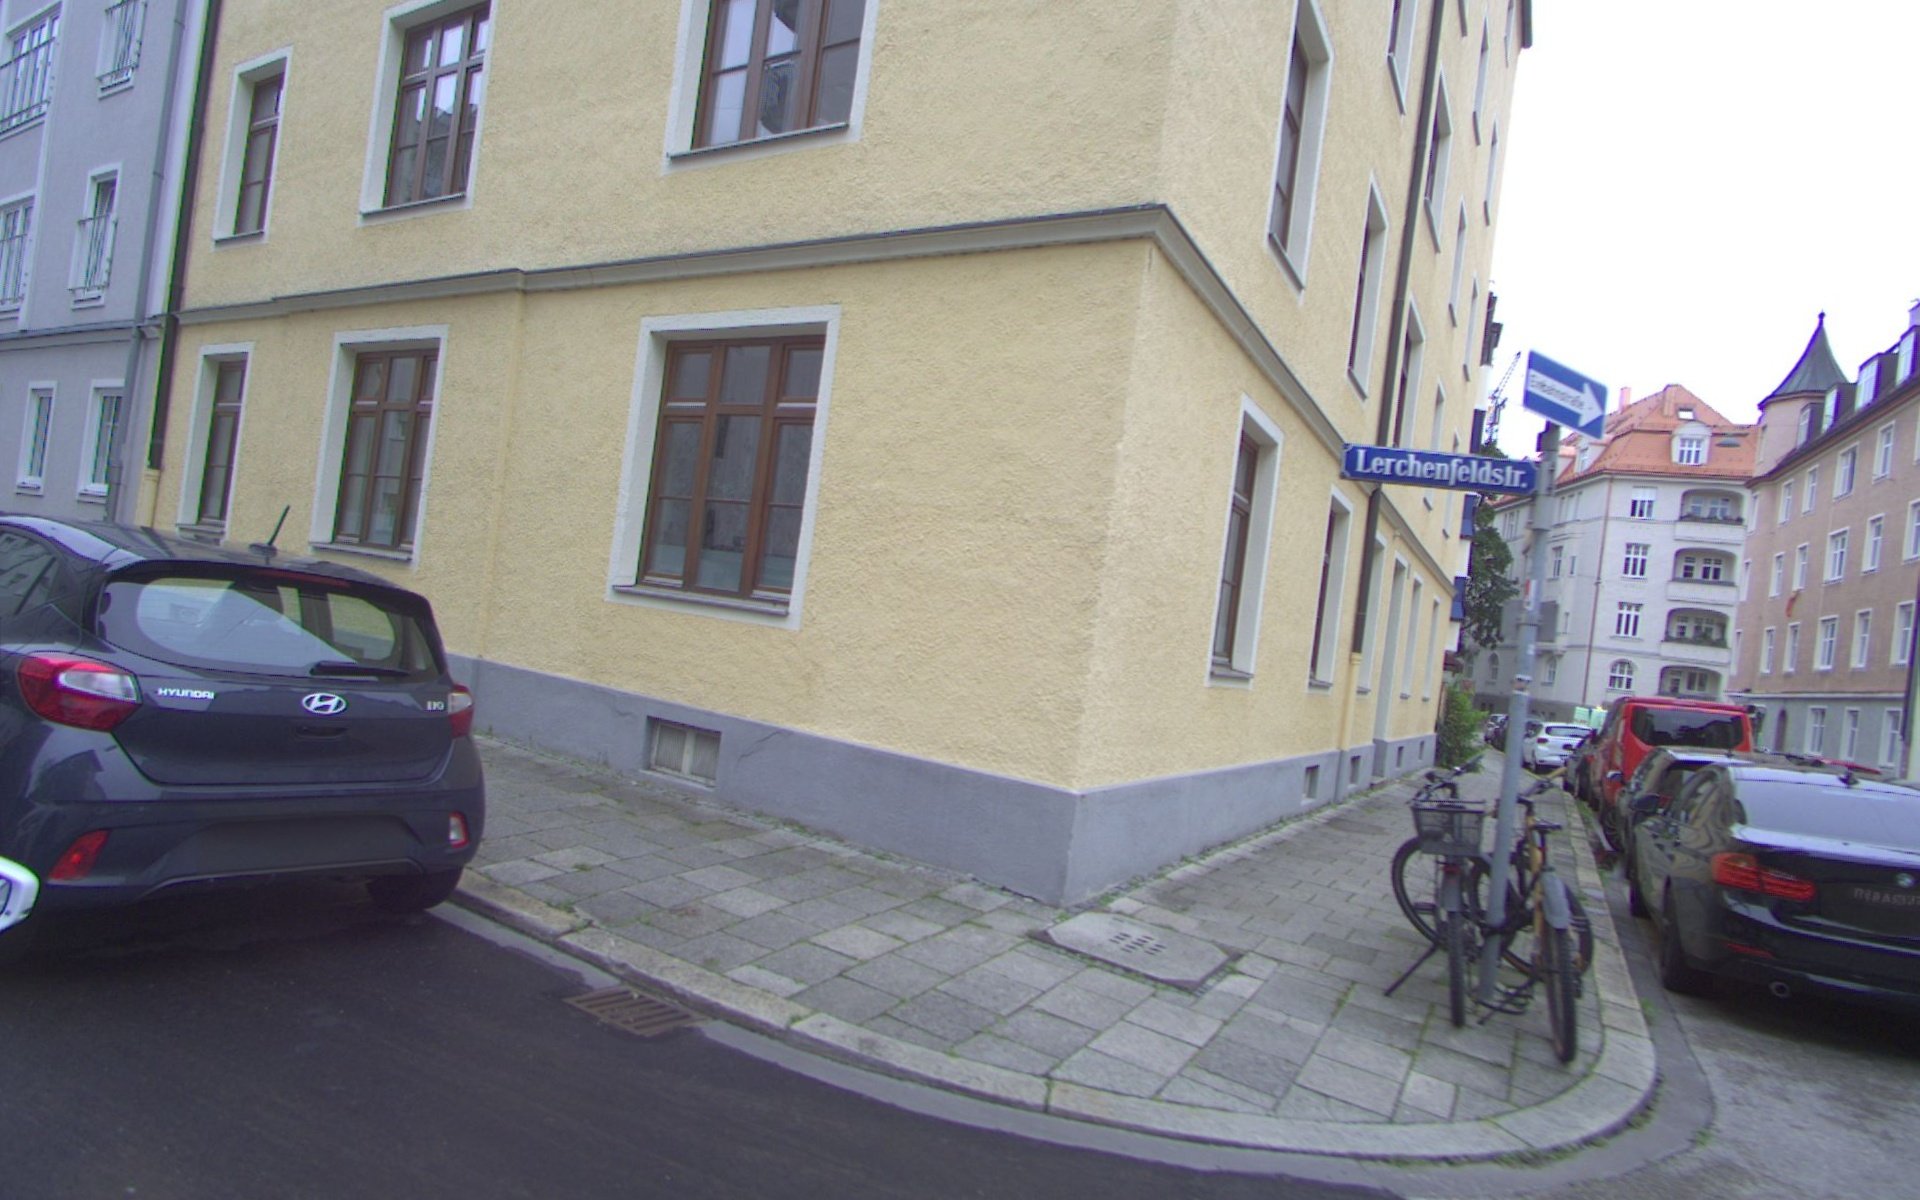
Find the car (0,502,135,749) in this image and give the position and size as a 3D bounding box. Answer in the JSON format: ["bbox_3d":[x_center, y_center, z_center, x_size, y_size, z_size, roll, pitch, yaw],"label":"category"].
[{"bbox_3d":[-7.544,-0.068,6.901,3.756,1.485,1.668,7,-4,32],"label":"car"}]

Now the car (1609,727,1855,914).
[{"bbox_3d":[8.597,2.330,11.541,1.683,1.510,3.983,4,-3,31],"label":"car"}]

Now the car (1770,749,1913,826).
[{"bbox_3d":[23.375,4.918,26.839,1.705,1.434,3.677,9,-1,25],"label":"car"}]

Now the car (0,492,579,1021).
[{"bbox_3d":[-4.032,0.348,4.698,4.269,1.485,1.757,7,-4,30],"label":"car"}]

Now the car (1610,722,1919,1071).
[{"bbox_3d":[5.669,1.736,6.844,1.683,1.511,4.222,6,-2,29],"label":"car"}]

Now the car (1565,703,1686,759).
[{"bbox_3d":[41.582,8.186,63.086,5.886,2.573,2.001,6,-3,26],"label":"car"}]

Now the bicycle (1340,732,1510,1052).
[{"bbox_3d":[2.436,1.355,5.156,0.496,1.188,1.811,9,1,29],"label":"bicycle"}]

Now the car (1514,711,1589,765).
[{"bbox_3d":[20.071,4.626,34.255,1.732,1.505,4.038,5,-3,26],"label":"car"}]

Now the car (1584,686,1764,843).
[{"bbox_3d":[11.895,2.658,17.067,1.876,2.075,4.552,4,-3,29],"label":"car"}]

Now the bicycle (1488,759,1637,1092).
[{"bbox_3d":[2.867,1.425,4.824,0.367,1.153,1.716,9,1,30],"label":"bicycle"}]

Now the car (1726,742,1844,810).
[{"bbox_3d":[25.641,5.425,31.415,1.705,1.532,3.886,9,-1,25],"label":"car"}]

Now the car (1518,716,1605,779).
[{"bbox_3d":[17.897,4.351,30.095,1.732,1.505,4.038,5,-3,26],"label":"car"}]
